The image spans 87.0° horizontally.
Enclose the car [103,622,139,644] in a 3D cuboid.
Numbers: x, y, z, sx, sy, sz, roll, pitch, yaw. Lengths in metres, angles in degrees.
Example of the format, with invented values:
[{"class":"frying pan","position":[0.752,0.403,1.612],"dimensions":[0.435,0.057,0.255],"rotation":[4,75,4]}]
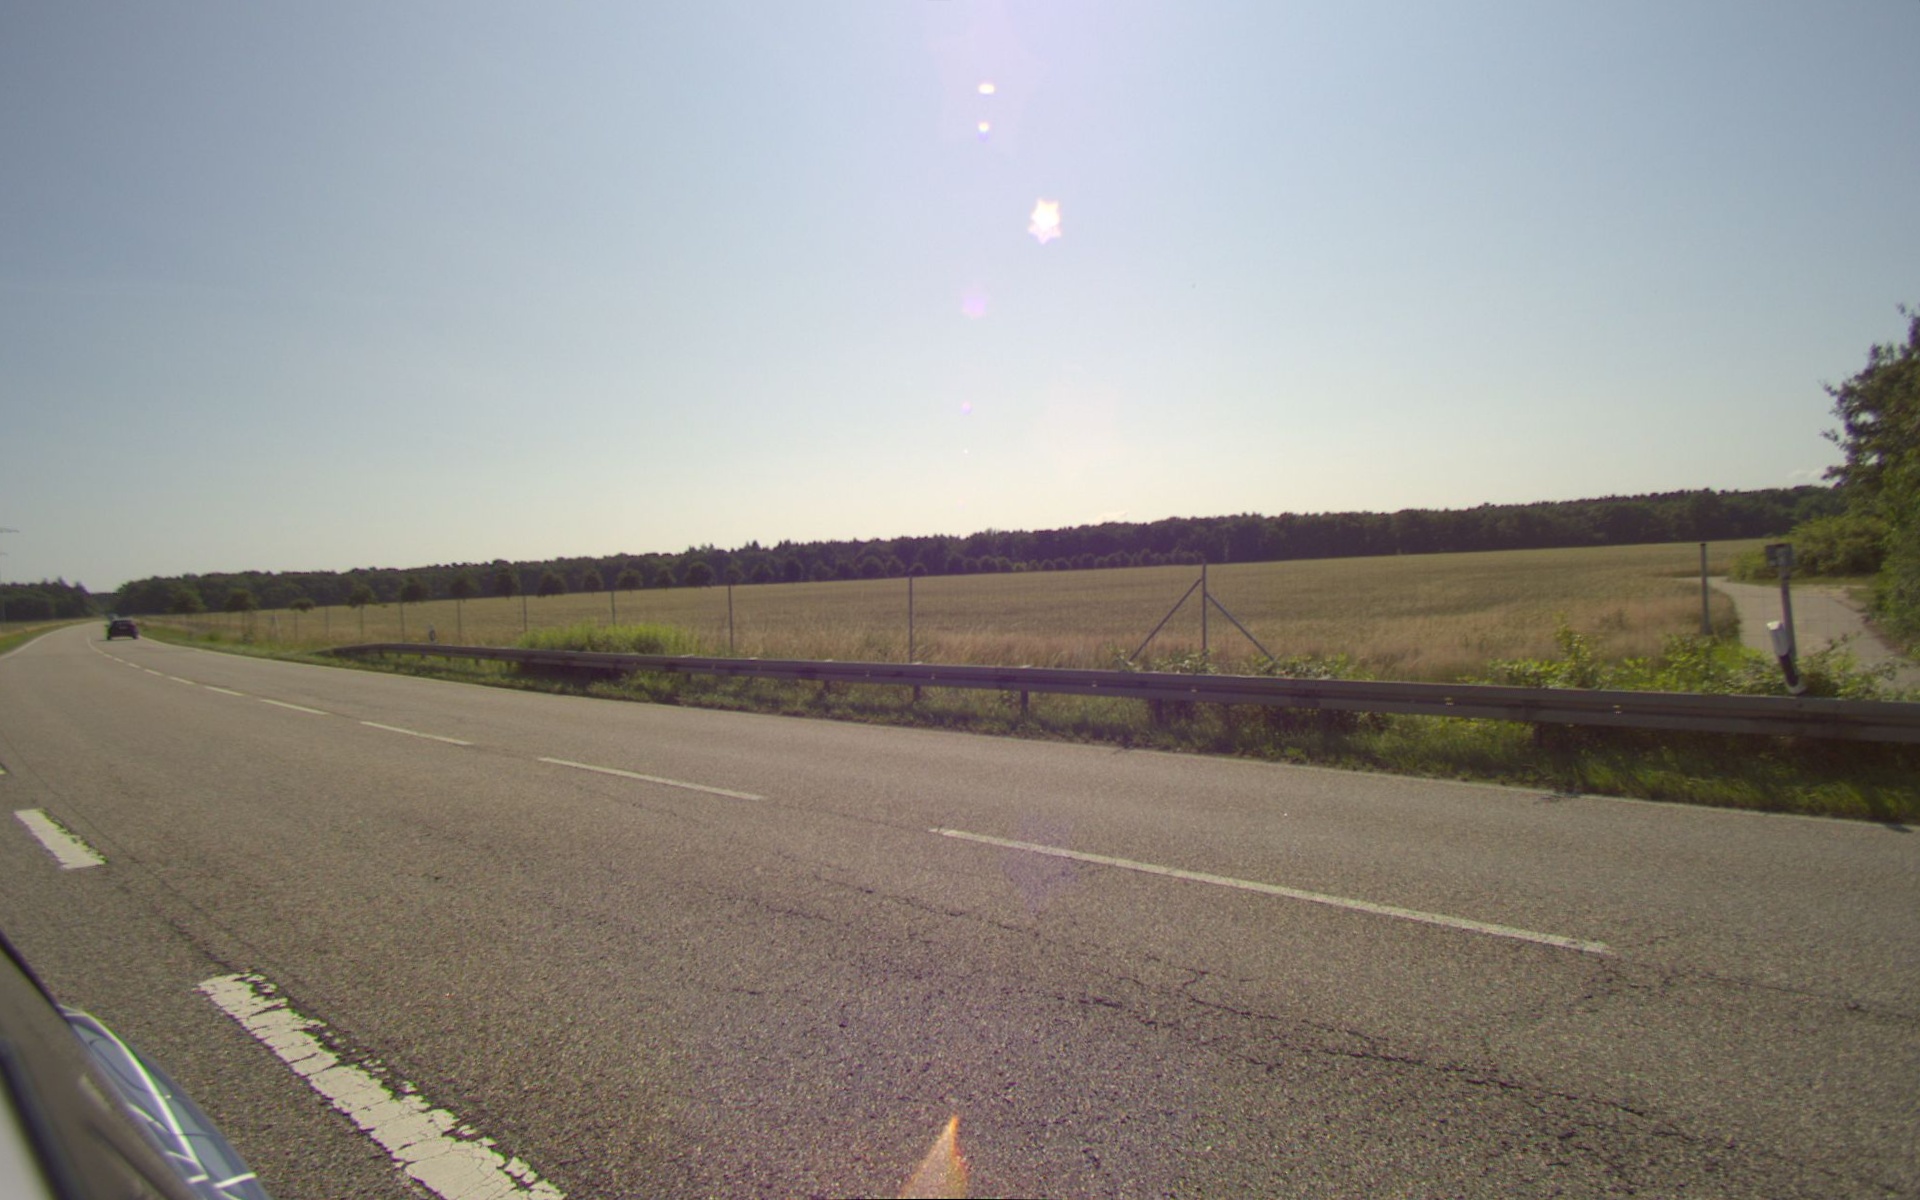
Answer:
[{"class":"car","position":[-62.274,2.427,75.057],"dimensions":[1.807,1.519,4.166],"rotation":[-1,0,-43]}]
